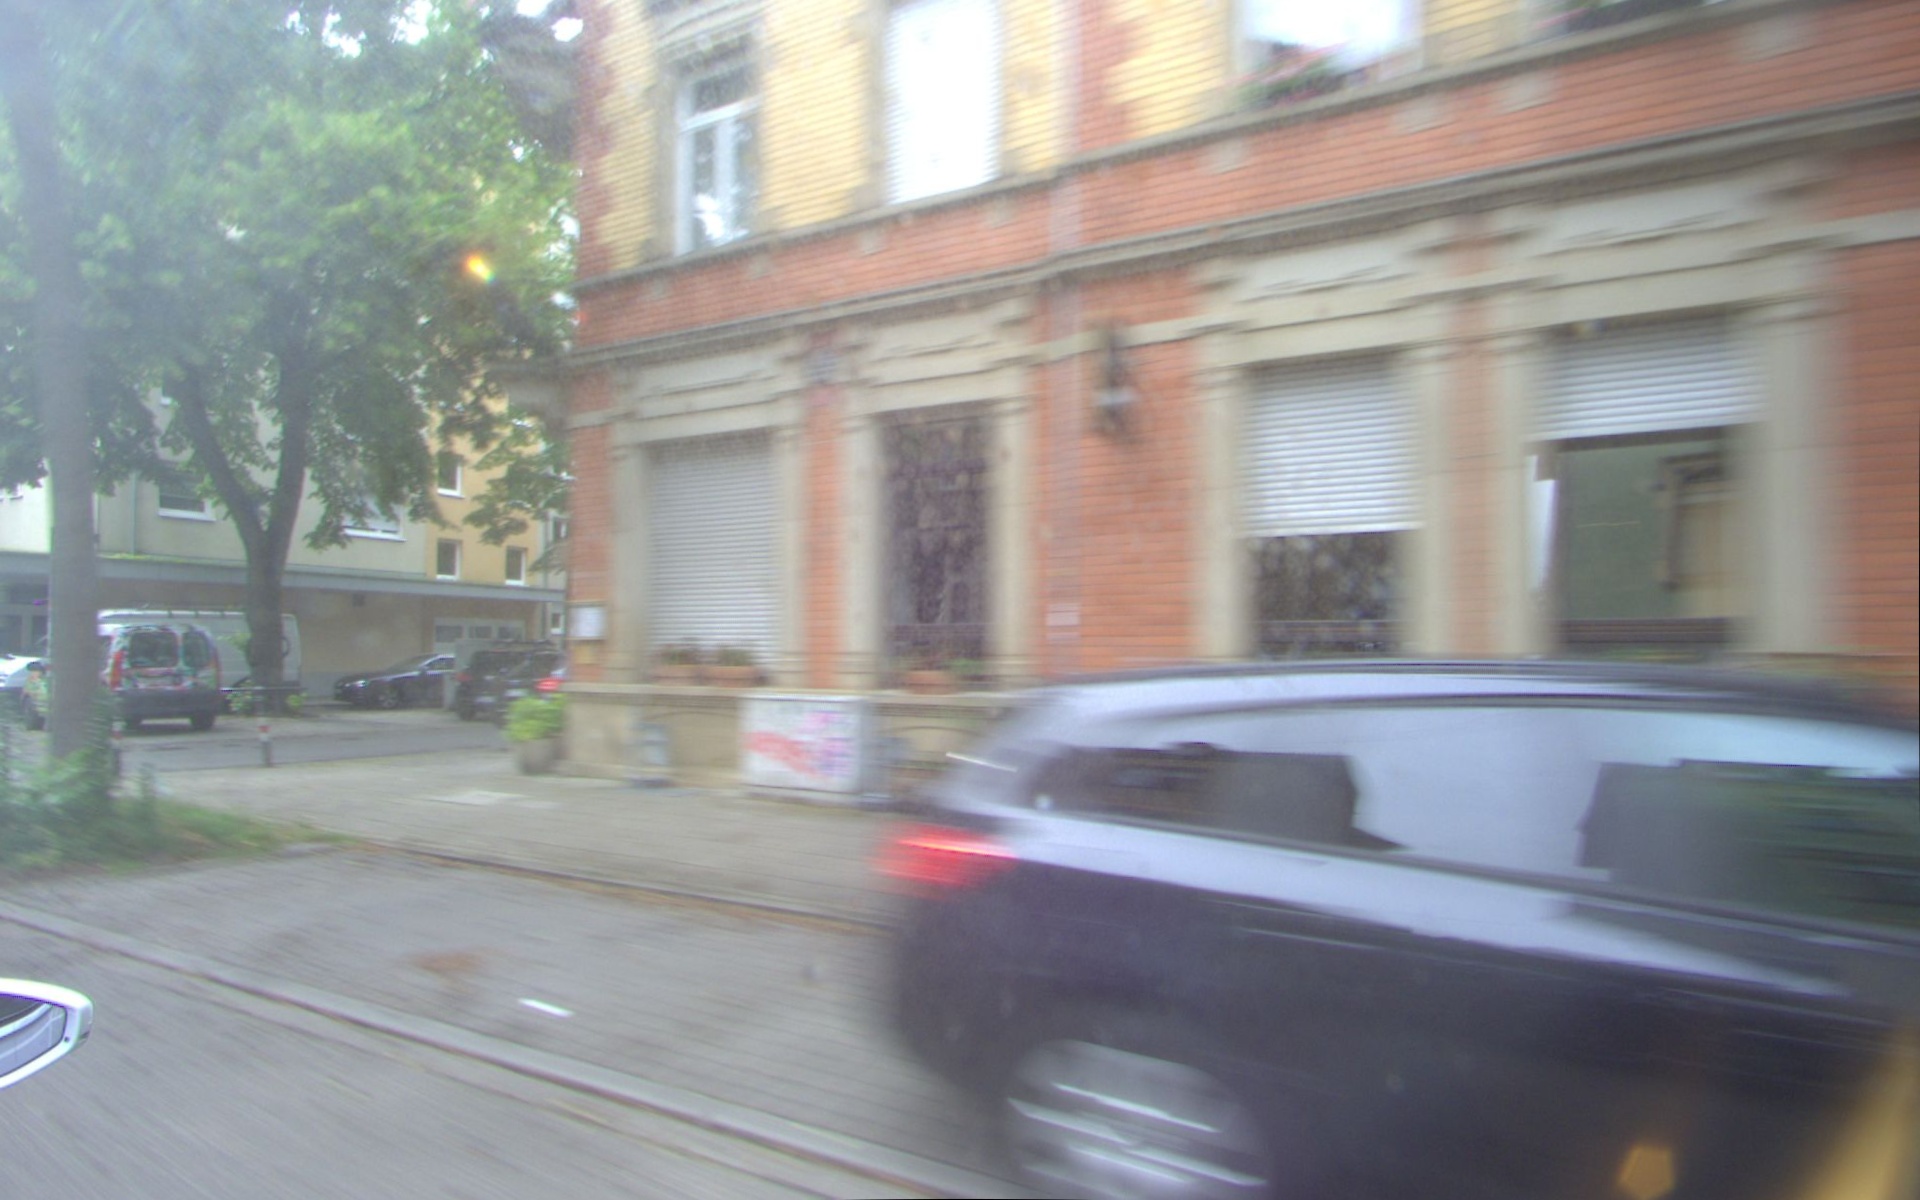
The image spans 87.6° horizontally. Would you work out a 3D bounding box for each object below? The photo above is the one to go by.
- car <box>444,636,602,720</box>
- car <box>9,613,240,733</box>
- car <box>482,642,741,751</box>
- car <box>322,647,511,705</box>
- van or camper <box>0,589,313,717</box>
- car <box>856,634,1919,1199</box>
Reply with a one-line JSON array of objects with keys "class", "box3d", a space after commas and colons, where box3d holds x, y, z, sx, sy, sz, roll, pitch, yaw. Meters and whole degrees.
[{"class": "car", "box3d": [-9.254, 1.620, 21.587, 1.652, 1.601, 3.955, 2, -2, 0]}, {"class": "car", "box3d": [-14.368, 1.197, 17.193, 3.940, 1.842, 1.769, -1, -3, 30]}, {"class": "car", "box3d": [-5.561, 1.508, 16.400, 1.638, 1.559, 3.815, -3, -4, 34]}, {"class": "car", "box3d": [-14.803, 2.013, 27.428, 1.884, 1.446, 4.152, -1, -3, 39]}, {"class": "van or camper", "box3d": [-18.481, 1.160, 22.895, 2.107, 2.527, 5.756, 3, -1, 36]}, {"class": "car", "box3d": [2.078, 0.856, 2.418, 4.409, 1.505, 1.763, -1, -1, 27]}]
